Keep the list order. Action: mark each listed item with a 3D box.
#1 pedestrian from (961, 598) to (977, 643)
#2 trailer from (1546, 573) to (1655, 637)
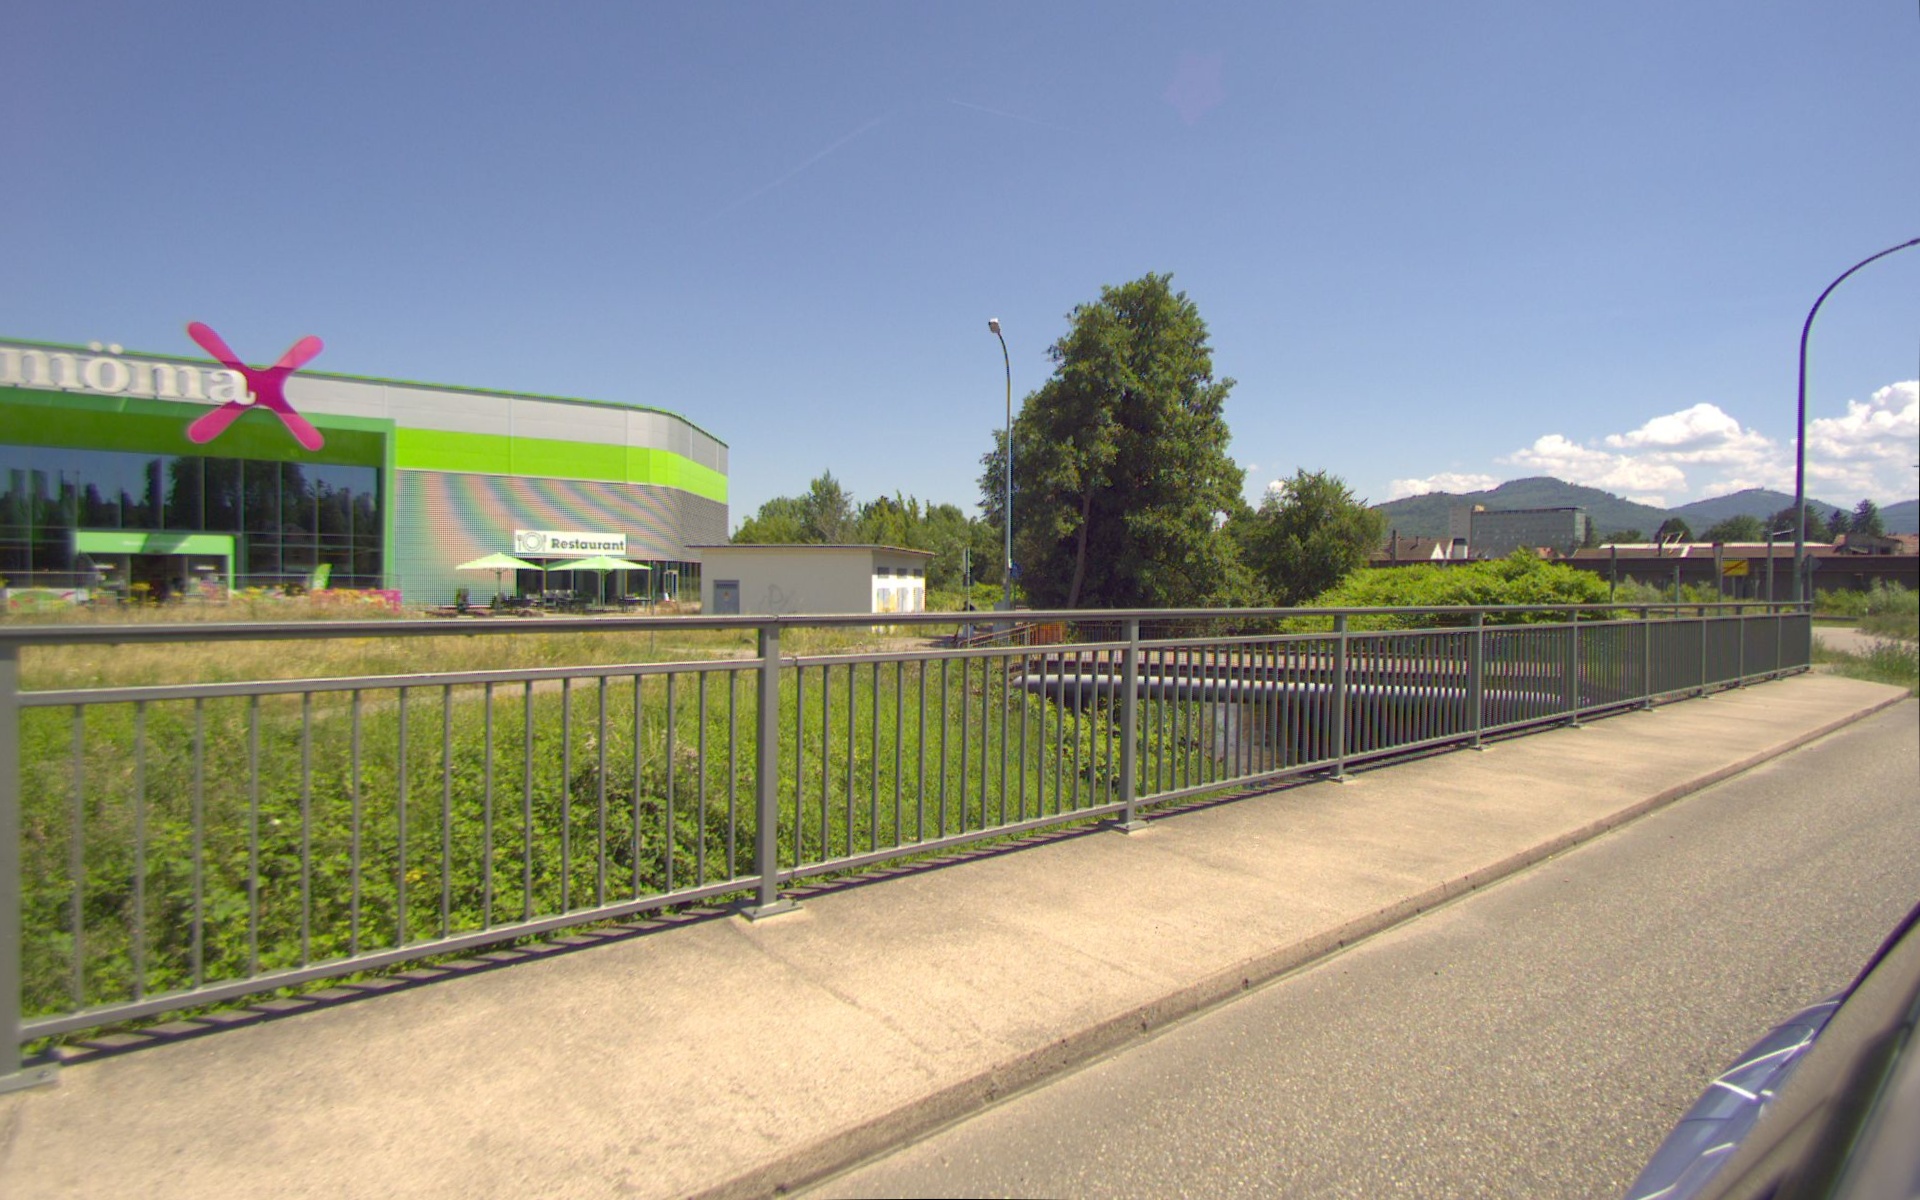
[{"bbox_3d":[0.329,0.720,35.108,0.433,1.558,0.411,0,-2,21],"label":"pedestrian"},{"bbox_3d":[22.328,0.118,35.451,1.822,2.103,3.959,0,1,10],"label":"trailer"}]
